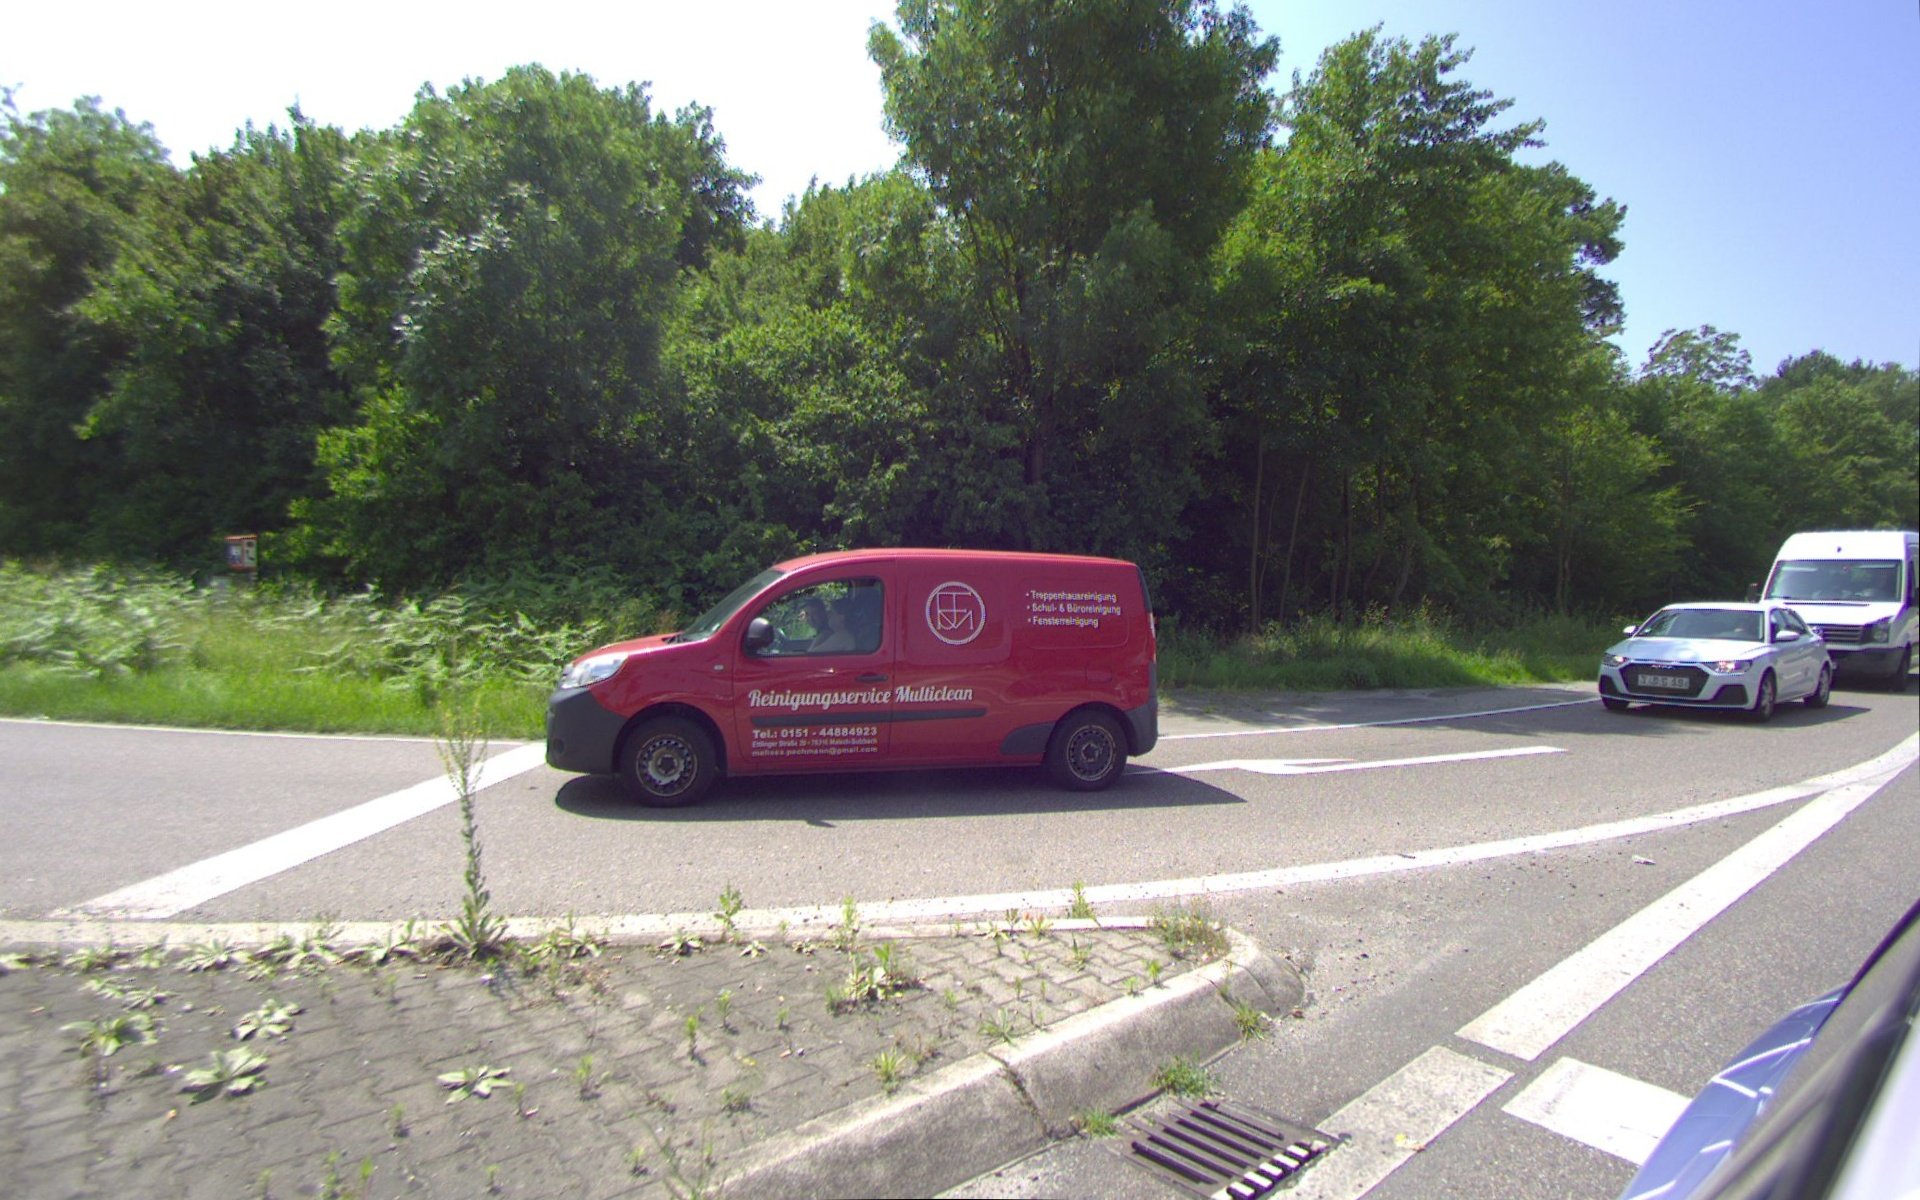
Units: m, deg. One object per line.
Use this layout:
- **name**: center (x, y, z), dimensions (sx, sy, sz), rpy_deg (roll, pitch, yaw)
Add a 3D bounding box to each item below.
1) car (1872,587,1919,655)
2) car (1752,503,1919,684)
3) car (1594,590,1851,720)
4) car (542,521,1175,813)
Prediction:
- **car**: center (22.773, 0.443, 23.608), dimensions (4.156, 1.479, 1.794), rpy_deg (-1, 0, -42)
- **car**: center (15.855, -0.109, 17.690), dimensions (5.952, 2.678, 1.974), rpy_deg (0, 0, -40)
- **car**: center (10.059, 0.614, 13.265), dimensions (3.926, 1.454, 1.694), rpy_deg (0, -1, -38)
- **car**: center (-0.756, 0.415, 7.845), dimensions (4.401, 1.846, 1.801), rpy_deg (0, 0, -15)
